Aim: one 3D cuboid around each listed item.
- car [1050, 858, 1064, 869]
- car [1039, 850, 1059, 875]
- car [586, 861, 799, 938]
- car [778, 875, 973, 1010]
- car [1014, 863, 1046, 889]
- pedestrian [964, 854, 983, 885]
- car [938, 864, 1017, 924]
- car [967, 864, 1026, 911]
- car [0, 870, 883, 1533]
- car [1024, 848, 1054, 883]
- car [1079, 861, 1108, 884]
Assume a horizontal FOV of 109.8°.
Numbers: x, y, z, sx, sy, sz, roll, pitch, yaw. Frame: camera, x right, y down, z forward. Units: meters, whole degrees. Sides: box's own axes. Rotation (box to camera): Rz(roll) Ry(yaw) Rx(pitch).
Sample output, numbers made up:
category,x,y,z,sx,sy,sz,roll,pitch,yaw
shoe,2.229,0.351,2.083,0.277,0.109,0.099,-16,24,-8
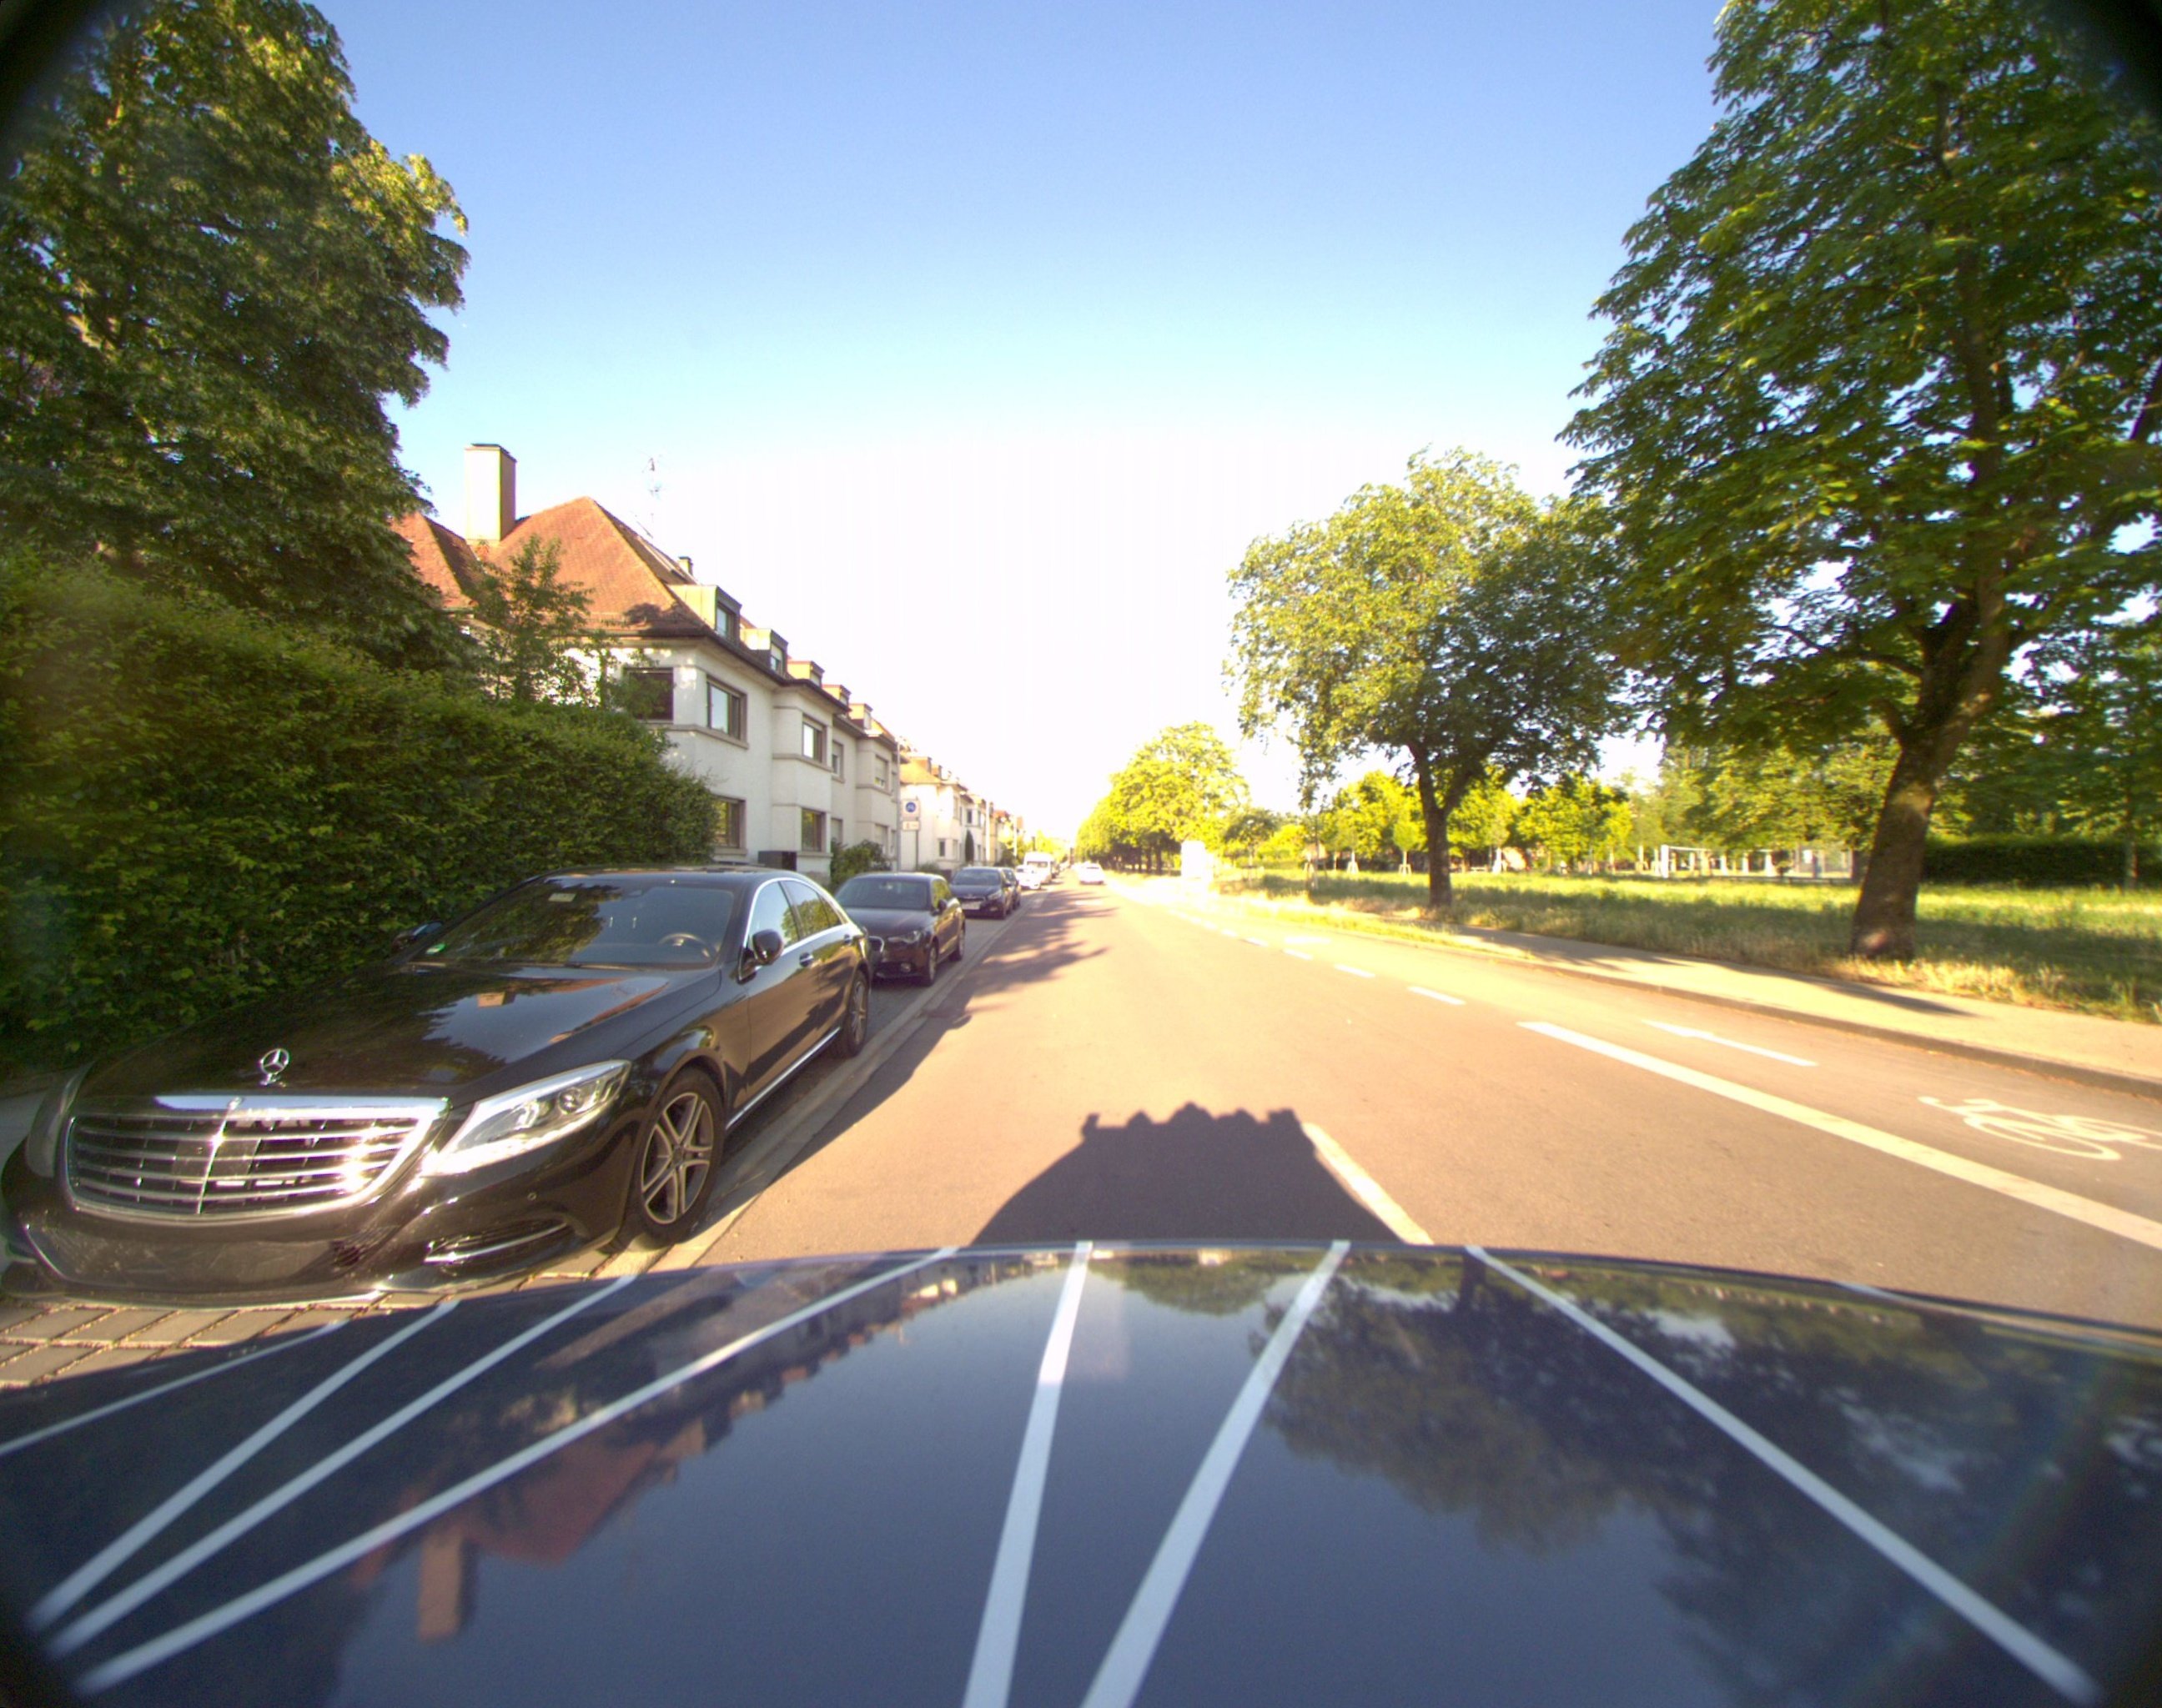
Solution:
category,x,y,z,sx,sy,sz,roll,pitch,yaw
car,-3.658,1.504,116.621,1.974,1.630,4.000,2,0,-1
car,-3.800,0.963,90.384,2.134,2.837,5.987,1,0,-1
car,-8.211,0.945,16.337,3.644,1.487,1.780,1,0,-5
car,-2.637,1.071,10.676,1.645,1.419,3.936,1,0,0
car,-3.082,1.307,46.534,1.787,1.498,4.233,-1,0,-2
pedestrian,-6.934,0.978,48.942,1.089,2.002,0.865,0,0,-16
car,-2.909,1.083,22.194,1.751,1.466,4.255,3,0,-2
car,-2.991,1.156,27.526,1.723,1.463,3.983,2,0,-2
car,-2.612,0.918,4.305,1.864,1.533,4.872,1,0,-3
car,-3.283,0.893,59.602,2.135,2.503,5.507,2,0,-2
car,0.967,1.453,60.385,1.896,1.667,4.423,-1,0,-4
